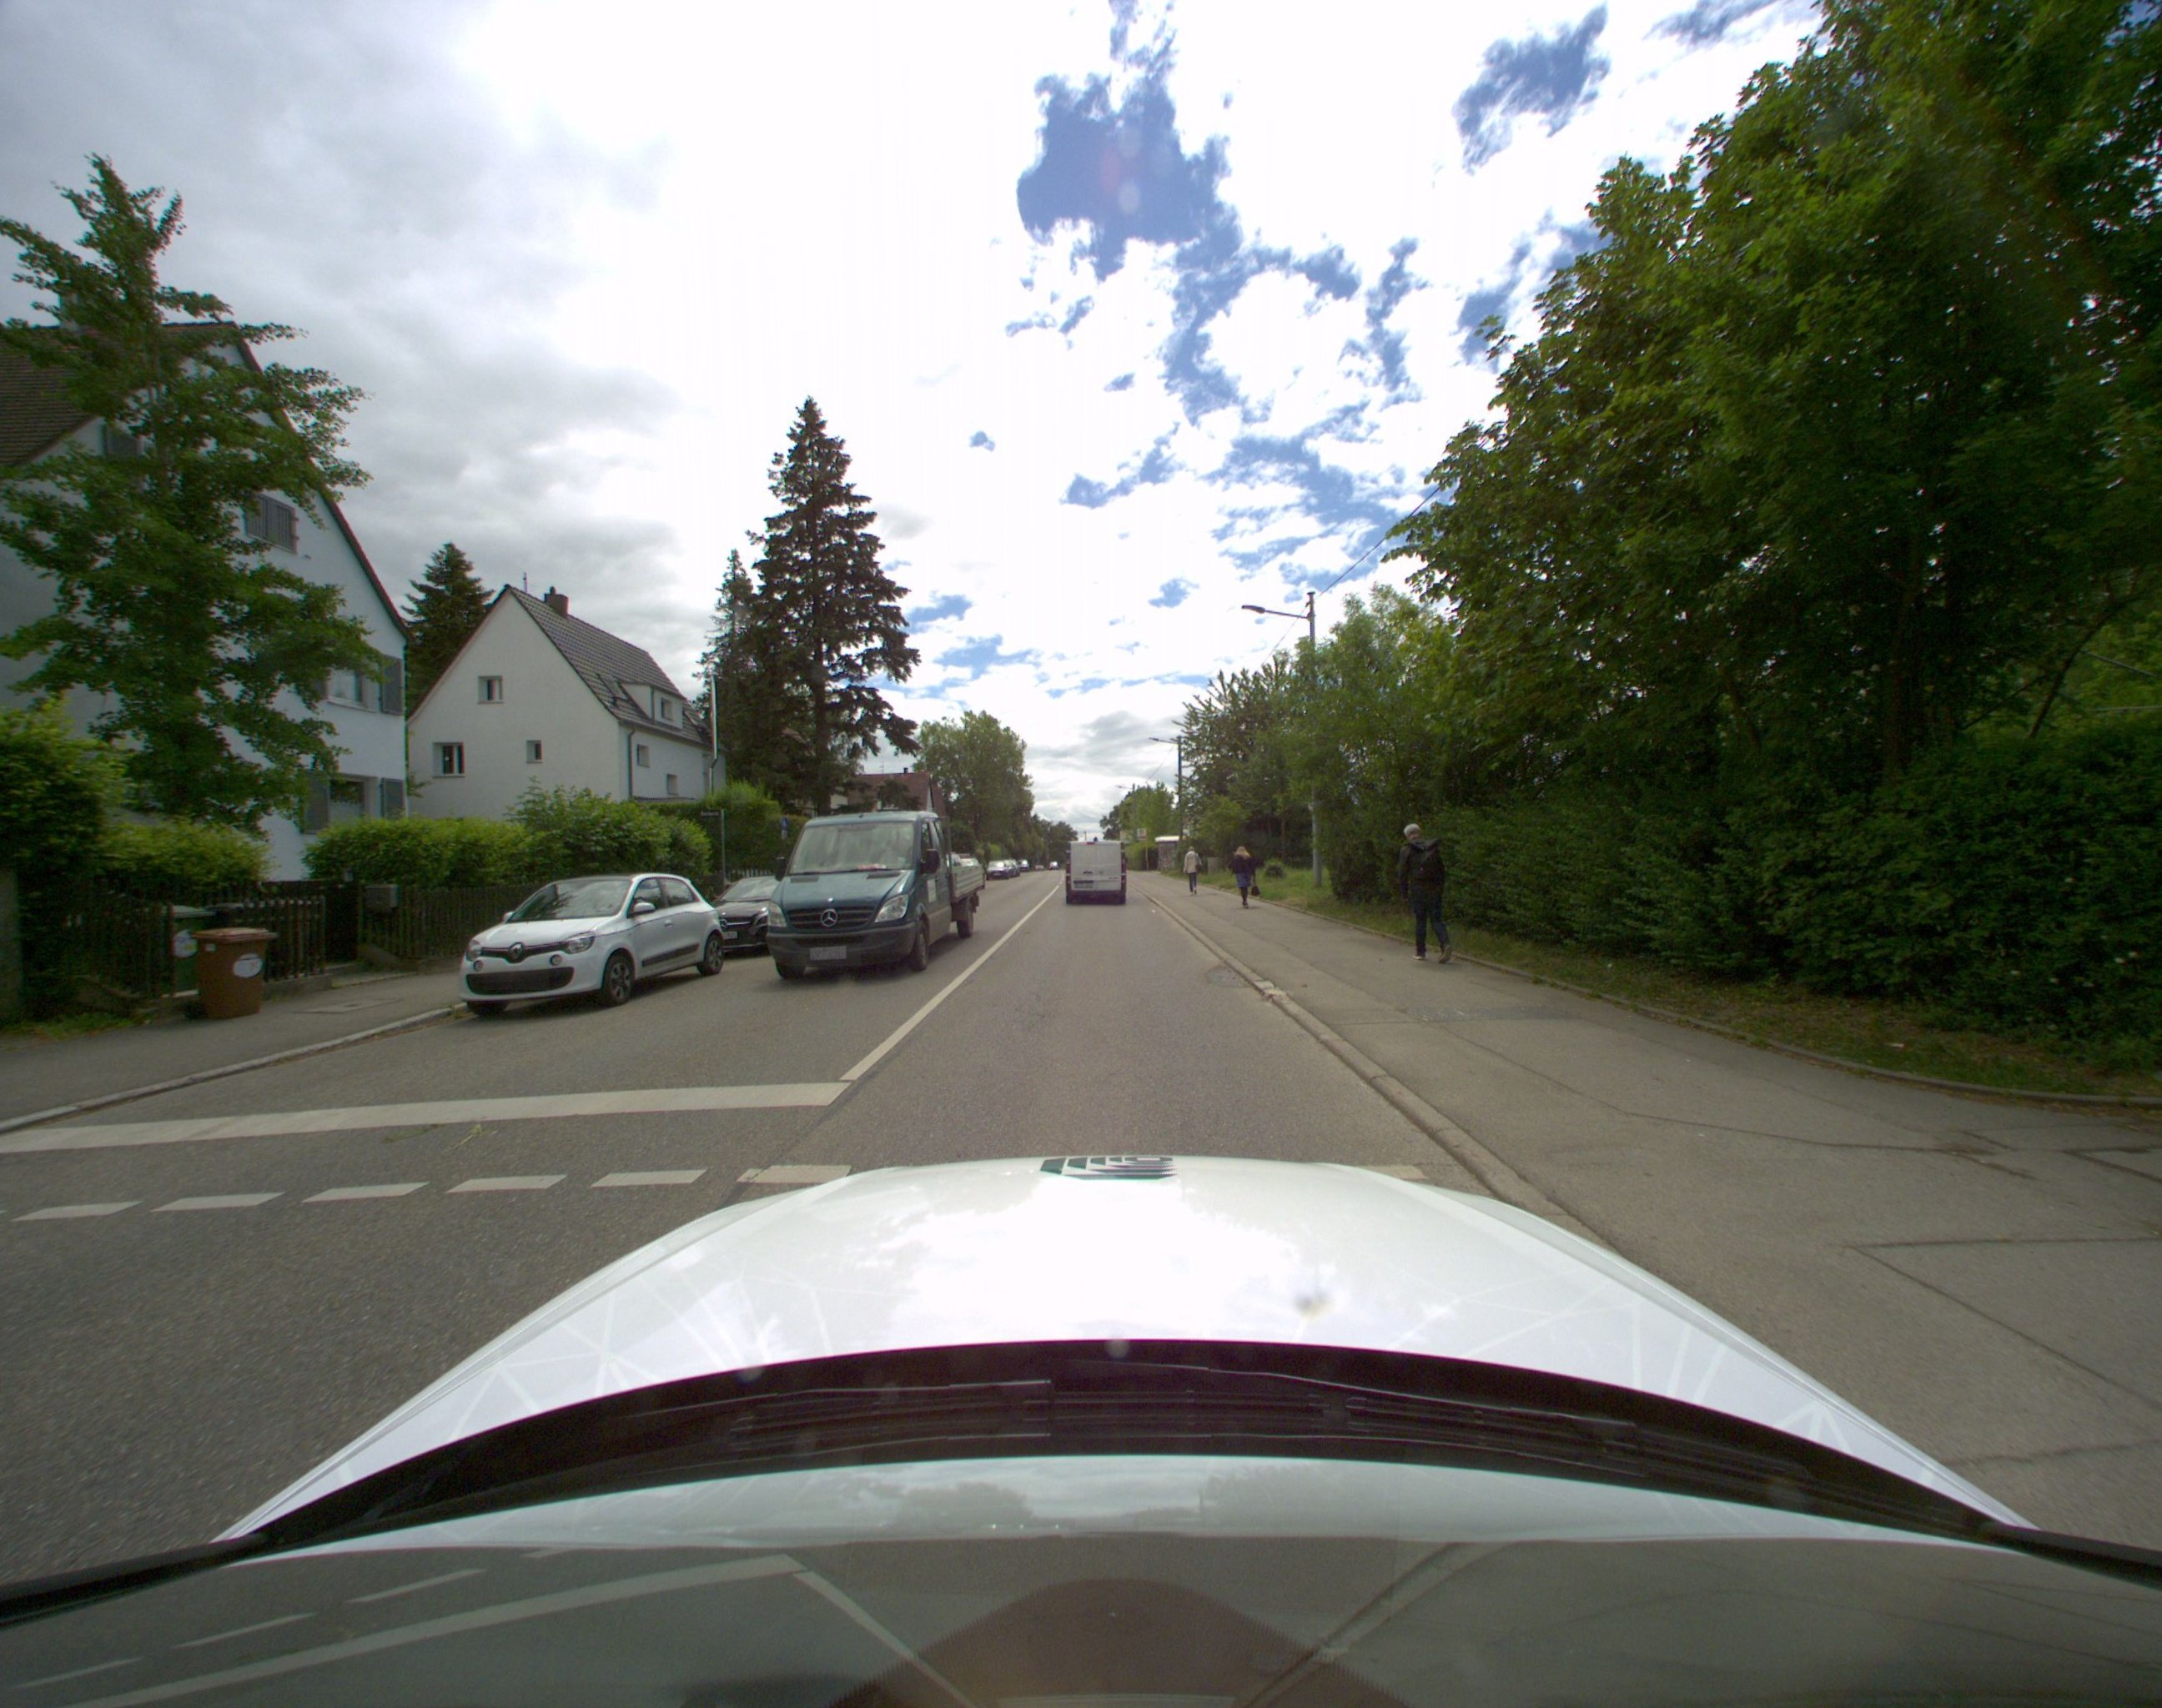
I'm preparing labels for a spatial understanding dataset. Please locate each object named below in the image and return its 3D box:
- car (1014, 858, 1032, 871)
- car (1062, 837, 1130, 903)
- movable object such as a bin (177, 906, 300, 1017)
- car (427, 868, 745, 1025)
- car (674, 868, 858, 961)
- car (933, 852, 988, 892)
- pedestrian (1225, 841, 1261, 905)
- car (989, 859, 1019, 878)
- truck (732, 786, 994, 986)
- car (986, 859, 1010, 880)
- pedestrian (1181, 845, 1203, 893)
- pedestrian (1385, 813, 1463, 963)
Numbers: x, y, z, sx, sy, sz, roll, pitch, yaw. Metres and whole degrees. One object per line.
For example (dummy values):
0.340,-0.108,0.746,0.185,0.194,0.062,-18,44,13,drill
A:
-7.963,1.449,110.700,2.131,1.772,4.451,0,0,-9,car
0.525,0.478,26.629,2.027,1.945,4.995,0,0,2,car
-9.118,1.142,8.836,0.513,1.080,0.749,1,0,2,movable object such as a bin
-6.169,1.039,10.744,1.696,1.543,3.745,-3,0,2,car
-6.019,1.086,16.177,1.736,1.410,4.326,-3,0,2,car
-5.925,0.837,40.668,1.978,1.819,4.707,-2,0,0,car
4.248,0.494,21.394,0.836,1.659,0.767,0,-1,5,pedestrian
-6.232,1.157,66.406,1.861,1.459,4.489,-2,-1,1,car
-3.082,0.390,13.593,2.181,2.371,6.907,-3,0,2,truck
-6.233,1.159,61.489,1.648,1.427,3.899,-3,0,-5,car
3.829,0.516,28.122,0.683,1.659,0.691,0,-1,5,pedestrian
4.461,0.426,10.636,0.741,1.883,0.803,0,-1,7,pedestrian
